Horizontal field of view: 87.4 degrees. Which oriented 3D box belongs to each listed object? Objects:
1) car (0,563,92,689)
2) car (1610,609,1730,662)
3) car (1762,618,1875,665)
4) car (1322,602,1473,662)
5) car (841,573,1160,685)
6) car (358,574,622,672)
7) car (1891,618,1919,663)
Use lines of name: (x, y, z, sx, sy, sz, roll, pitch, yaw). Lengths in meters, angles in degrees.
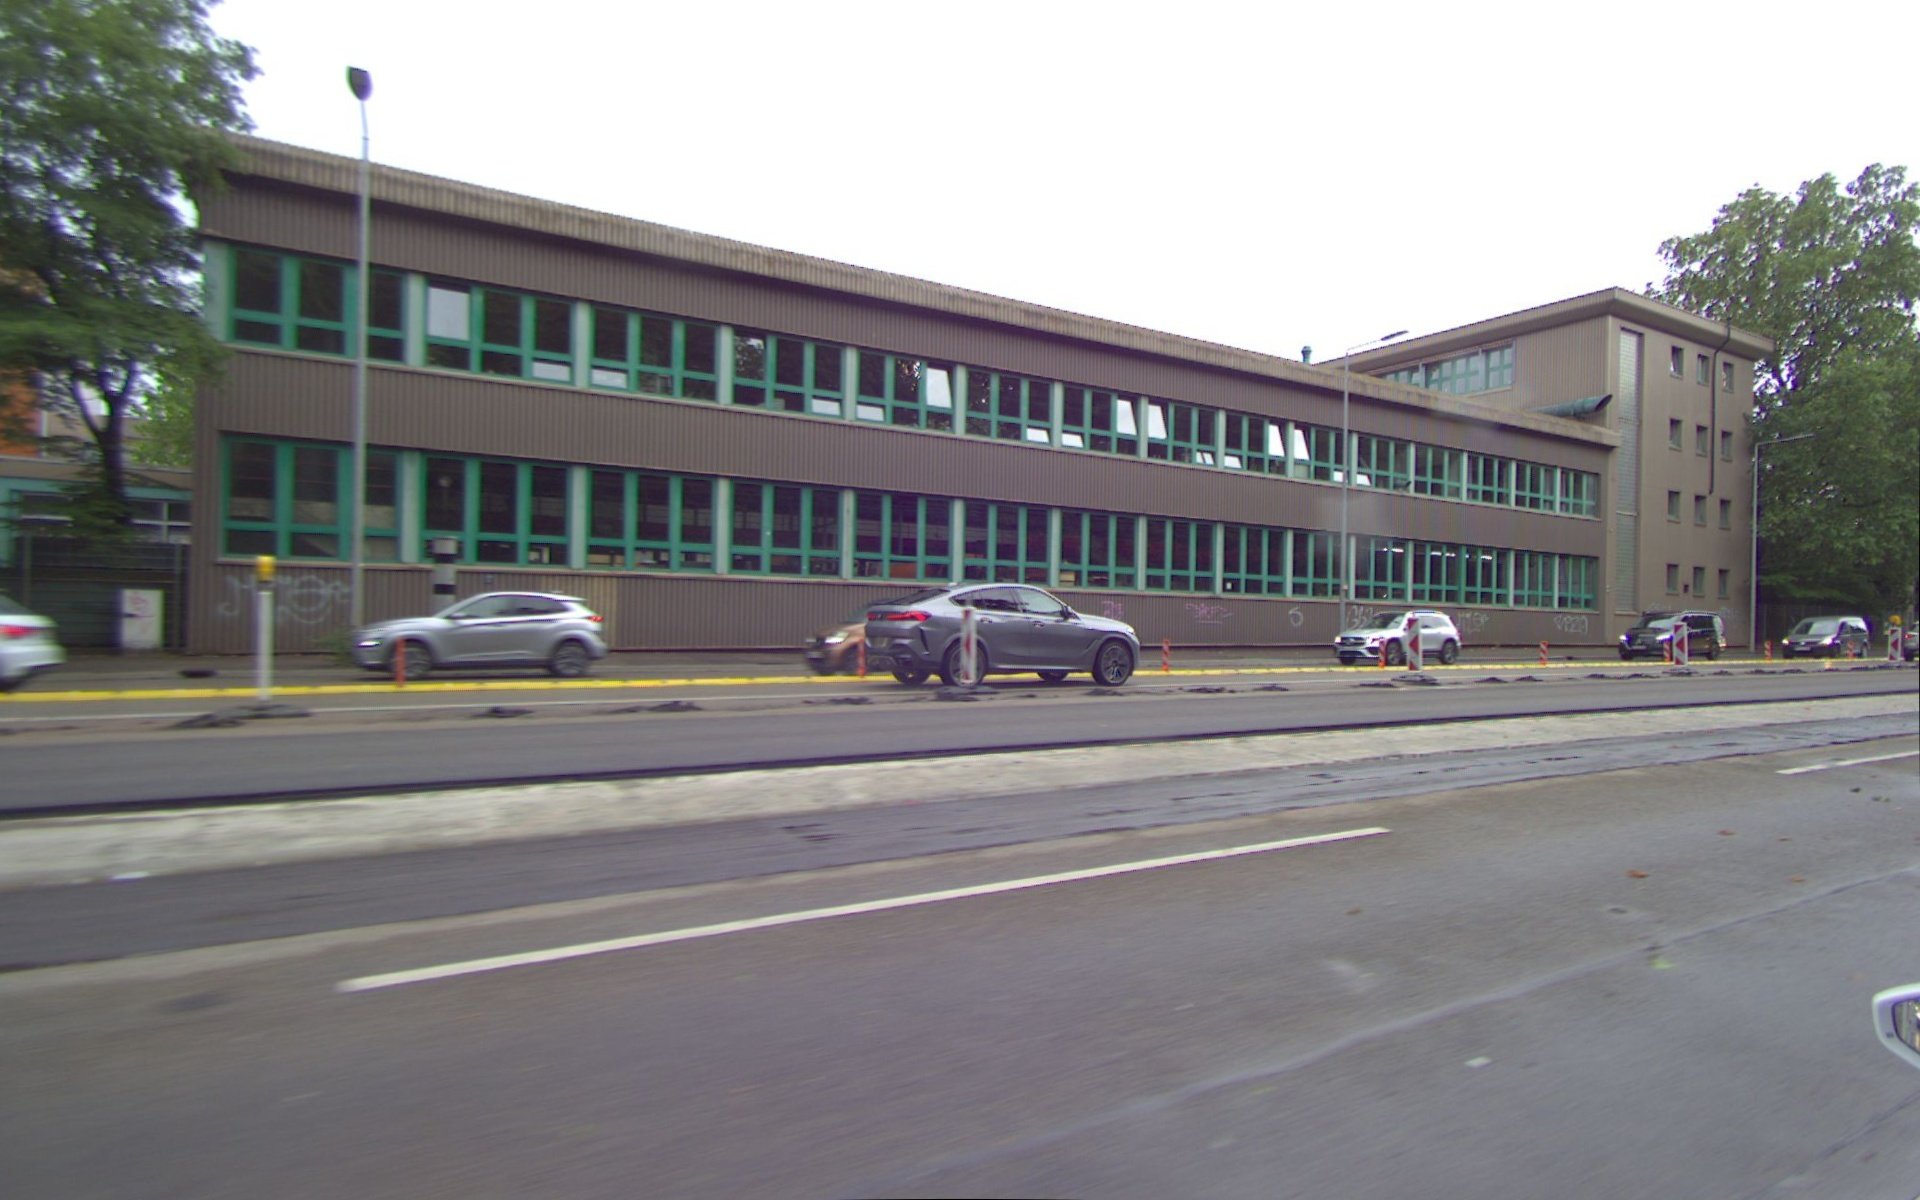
car: (-13.472, 0.258, 12.327, 3.946, 1.555, 1.794, 2, 0, -31)
car: (28.293, 1.413, 39.985, 5.304, 1.944, 1.983, 2, 0, -32)
car: (36.115, 1.757, 42.216, 4.893, 1.804, 1.985, 2, 0, -29)
car: (13.902, 1.015, 31.817, 4.880, 1.729, 1.927, 2, 0, -32)
car: (0.745, 0.484, 16.775, 4.999, 1.635, 2.066, 2, 0, -31)
car: (-8.517, 0.425, 18.315, 4.131, 1.607, 1.983, 2, 0, -31)
car: (38.631, 1.635, 39.532, 3.954, 1.670, 1.845, 2, 0, -31)
